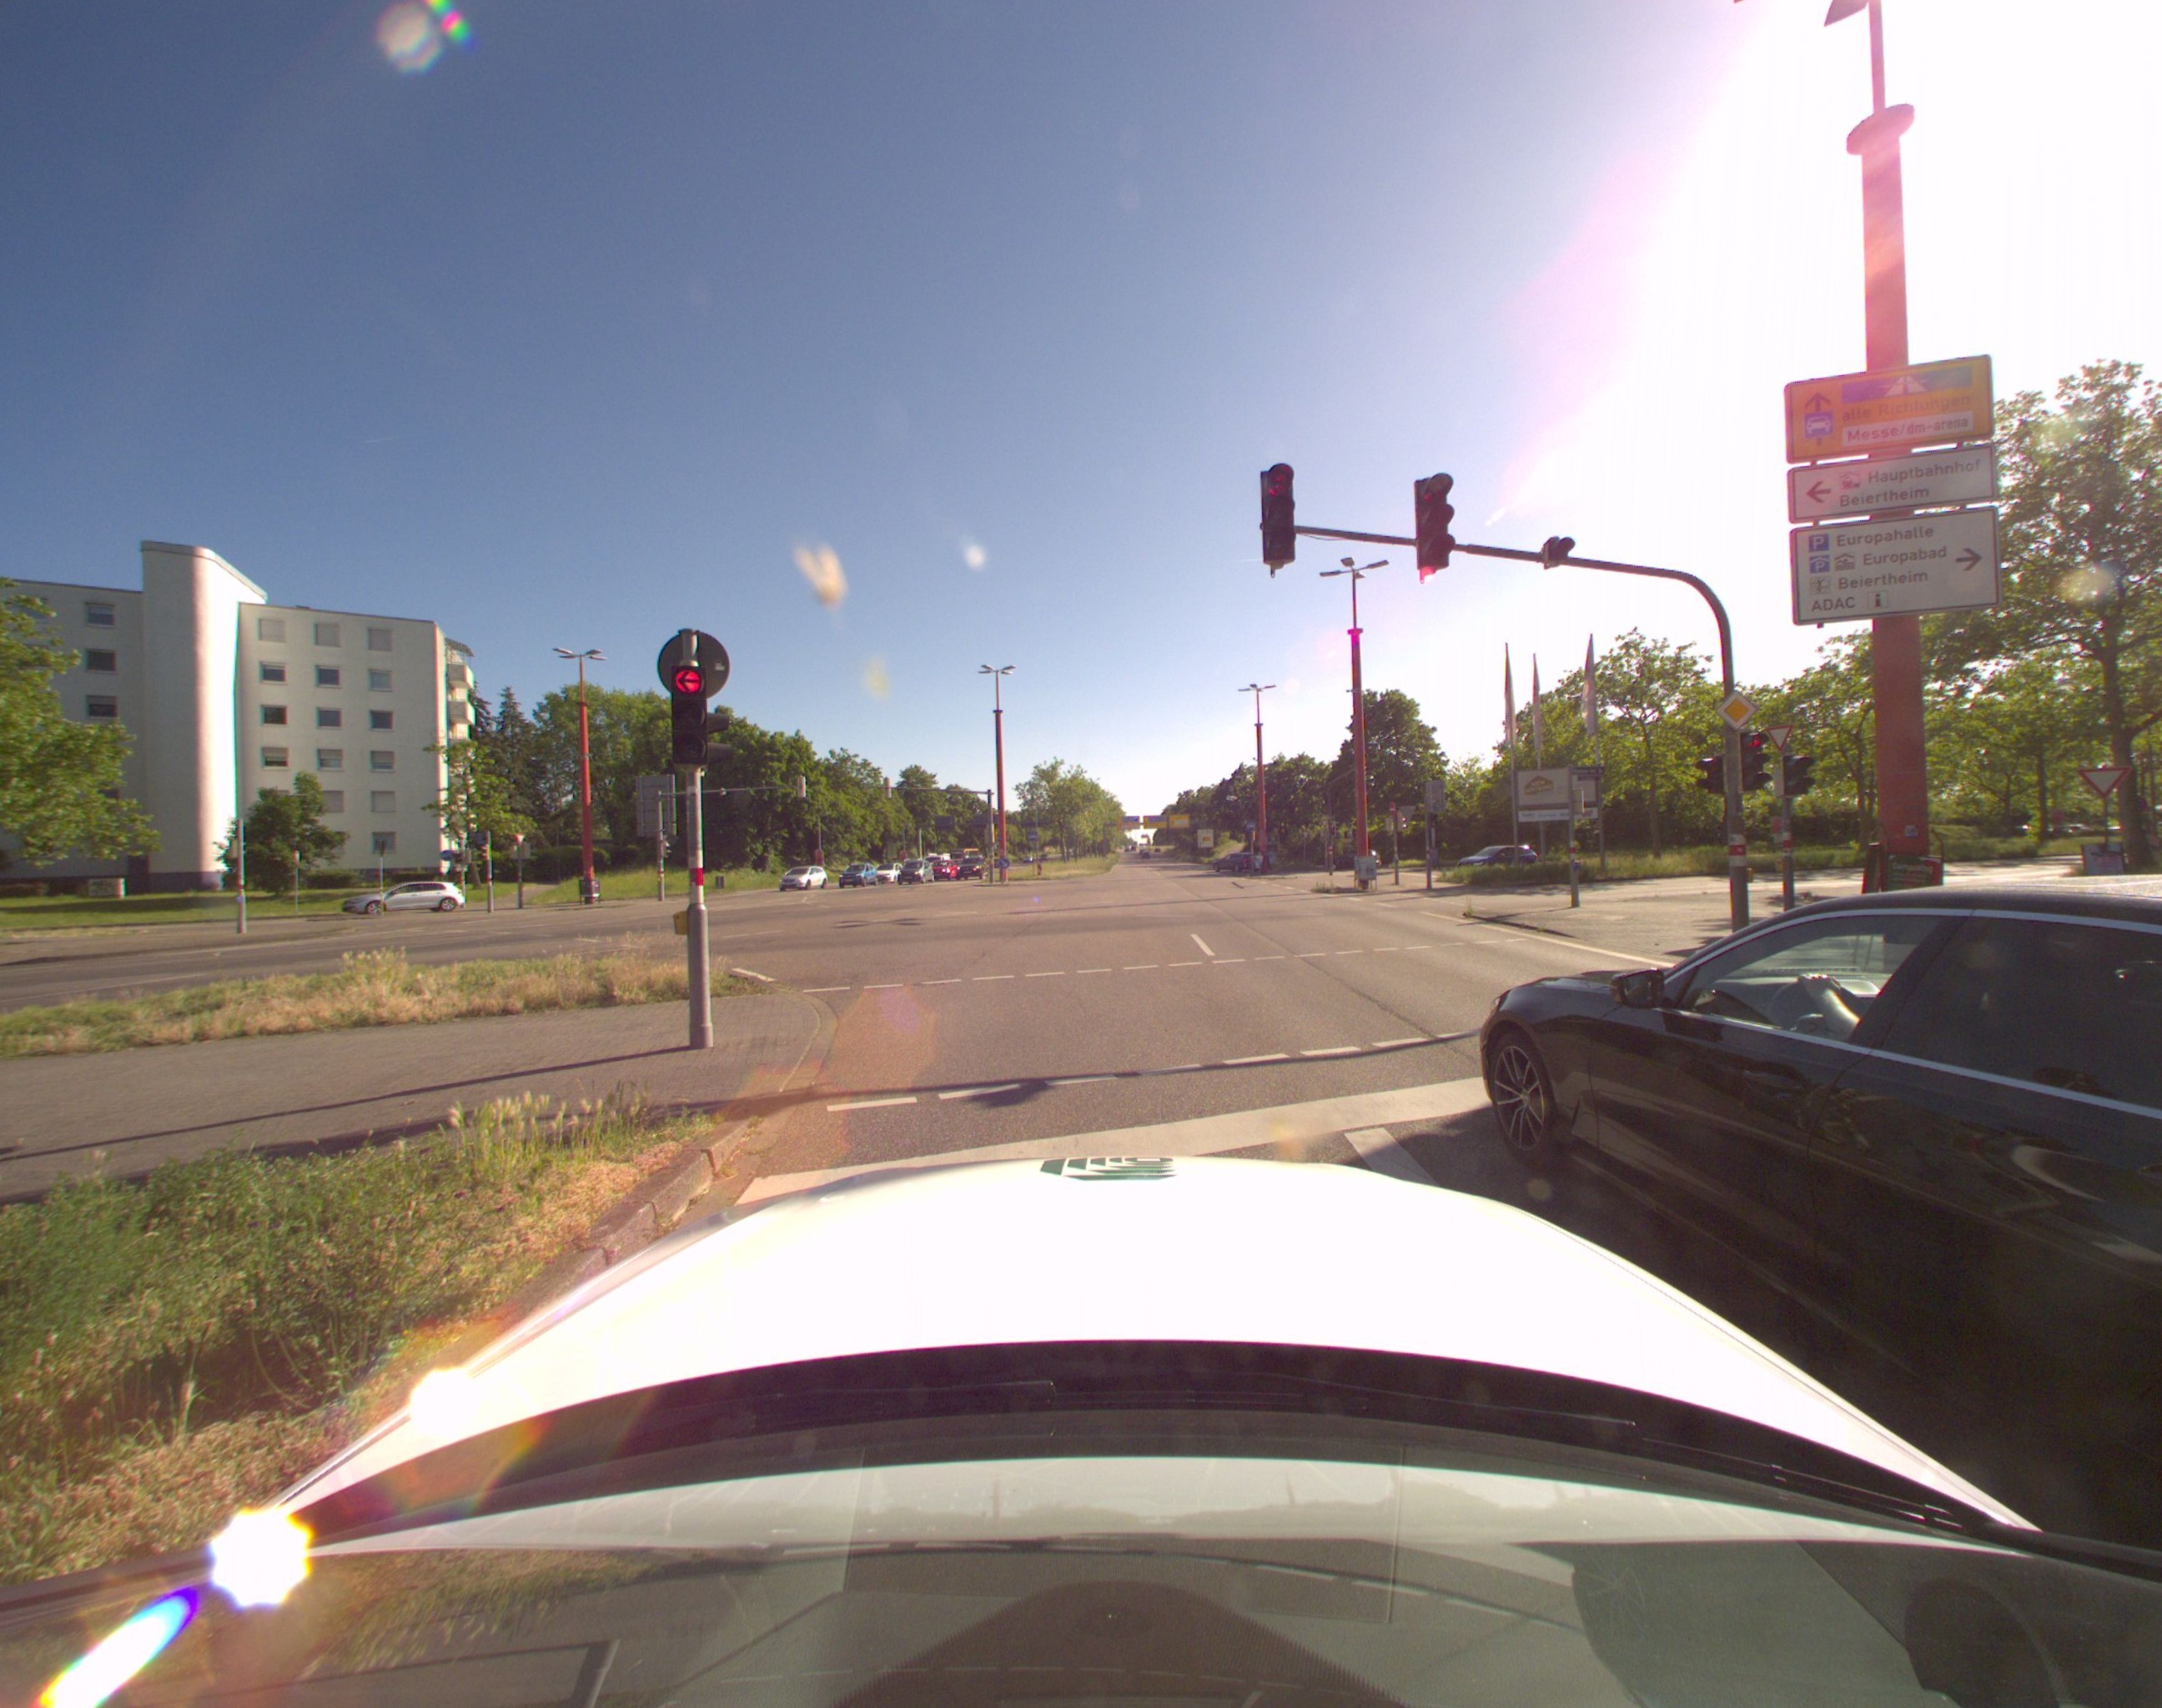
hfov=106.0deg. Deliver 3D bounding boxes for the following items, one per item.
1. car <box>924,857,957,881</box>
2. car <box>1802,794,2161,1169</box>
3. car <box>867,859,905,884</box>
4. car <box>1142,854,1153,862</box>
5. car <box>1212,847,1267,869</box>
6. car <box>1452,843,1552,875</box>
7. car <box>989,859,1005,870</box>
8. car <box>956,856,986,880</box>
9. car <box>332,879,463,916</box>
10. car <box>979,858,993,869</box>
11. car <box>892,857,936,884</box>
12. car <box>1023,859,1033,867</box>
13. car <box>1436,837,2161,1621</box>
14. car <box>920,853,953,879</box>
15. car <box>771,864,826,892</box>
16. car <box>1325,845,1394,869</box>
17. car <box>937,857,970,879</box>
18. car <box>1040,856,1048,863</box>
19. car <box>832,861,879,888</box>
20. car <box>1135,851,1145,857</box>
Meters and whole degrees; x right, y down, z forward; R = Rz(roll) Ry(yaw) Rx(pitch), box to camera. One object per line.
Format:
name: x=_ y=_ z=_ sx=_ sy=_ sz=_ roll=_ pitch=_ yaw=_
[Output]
car: x=-10.096 y=1.046 z=58.875 sx=1.991 sy=1.573 sz=4.112 roll=-2 pitch=0 yaw=-6
car: x=5.807 y=0.558 z=3.265 sx=1.959 sy=1.686 sz=4.479 roll=-1 pitch=0 yaw=2
car: x=-13.731 y=1.215 z=57.527 sx=1.991 sy=1.573 sz=4.112 roll=-3 pitch=0 yaw=-6
car: x=13.961 y=0.853 z=170.984 sx=2.149 sy=1.573 sz=4.285 roll=-2 pitch=0 yaw=4
car: x=12.677 y=0.336 z=65.311 sx=2.168 sy=1.573 sz=4.548 roll=-2 pitch=0 yaw=-22
car: x=20.814 y=0.233 z=40.278 sx=4.276 sy=1.428 sz=1.874 roll=-2 pitch=0 yaw=-16
car: x=-12.014 y=1.536 z=116.472 sx=1.814 sy=1.454 sz=3.658 roll=-2 pitch=0 yaw=2
car: x=-7.558 y=0.938 z=56.493 sx=1.874 sy=1.573 sz=4.112 roll=-2 pitch=0 yaw=-6
car: x=-31.310 y=1.956 z=37.431 sx=1.776 sy=1.452 sz=4.249 roll=-2 pitch=0 yaw=35
car: x=-14.599 y=1.493 z=125.542 sx=1.872 sy=1.573 sz=4.117 roll=-2 pitch=0 yaw=-2
car: x=-10.725 y=1.045 z=52.584 sx=1.988 sy=1.573 sz=4.119 roll=-2 pitch=0 yaw=-1
car: x=-10.703 y=1.806 z=165.385 sx=1.872 sy=1.573 sz=3.943 roll=-2 pitch=0 yaw=-2
car: x=2.961 y=0.664 z=2.377 sx=1.986 sy=1.394 sz=4.479 roll=-2 pitch=0 yaw=2
car: x=-12.727 y=1.053 z=71.990 sx=2.055 sy=2.193 sz=4.377 roll=-2 pitch=0 yaw=0
car: x=-17.686 y=1.466 z=51.184 sx=1.987 sy=1.573 sz=4.120 roll=-2 pitch=0 yaw=0
car: x=19.608 y=0.223 z=57.399 sx=4.226 sy=1.573 sz=2.179 roll=-2 pitch=0 yaw=29
car: x=-10.058 y=1.093 z=64.657 sx=1.988 sy=1.573 sz=4.118 roll=-2 pitch=0 yaw=-1
car: x=-8.738 y=1.294 z=191.818 sx=1.872 sy=1.573 sz=4.117 roll=-2 pitch=0 yaw=-2
car: x=-14.228 y=1.283 z=51.644 sx=1.989 sy=1.573 sz=4.116 roll=-2 pitch=0 yaw=-3
car: x=15.500 y=0.090 z=214.496 sx=2.153 sy=1.573 sz=4.277 roll=-2 pitch=0 yaw=-2
